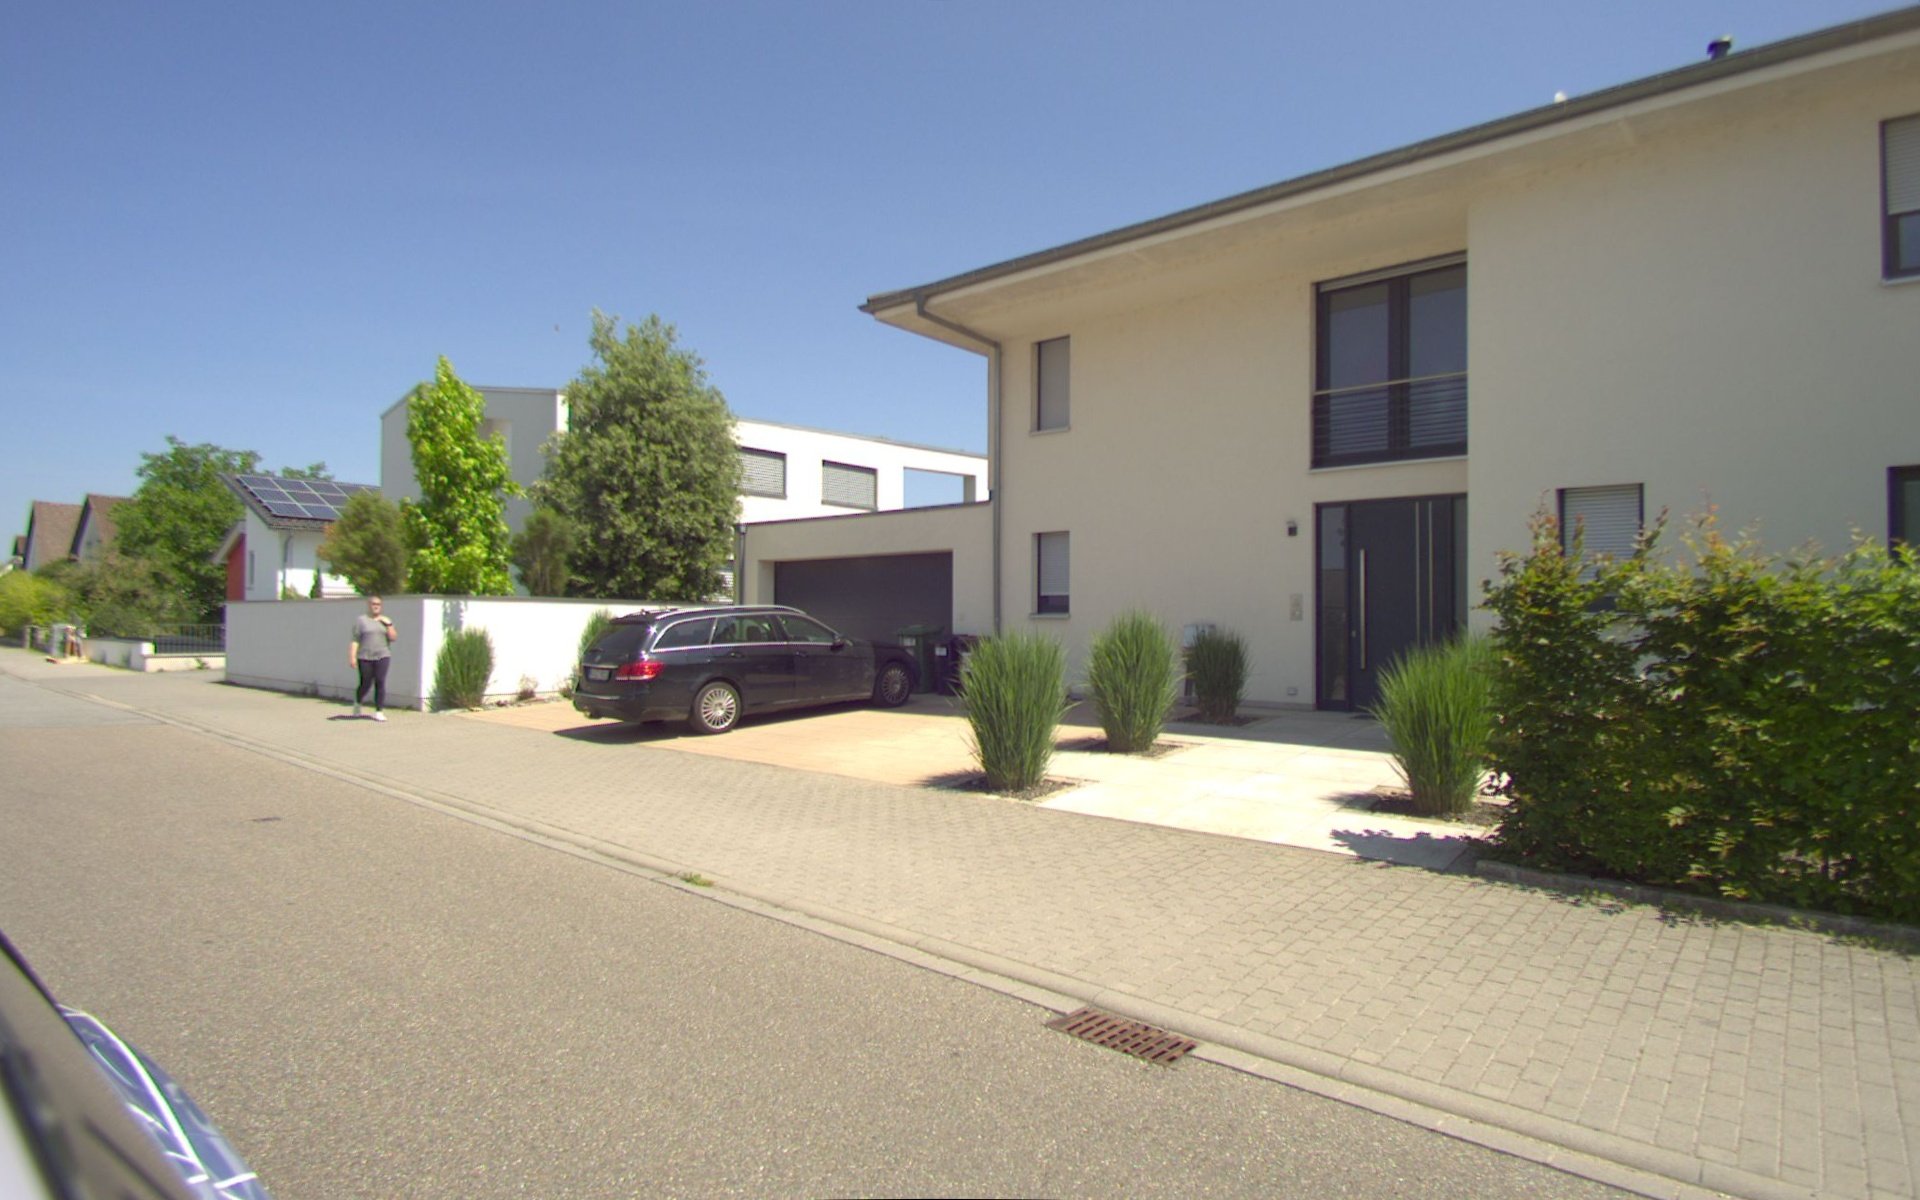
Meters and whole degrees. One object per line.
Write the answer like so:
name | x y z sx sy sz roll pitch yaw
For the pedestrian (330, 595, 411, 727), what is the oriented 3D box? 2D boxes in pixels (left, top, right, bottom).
pedestrian | -8.217 0.820 14.101 0.960 1.760 0.707 -1 -1 42

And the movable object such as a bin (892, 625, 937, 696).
movable object such as a bin | -0.713 0.931 15.841 0.588 1.081 0.381 -1 -2 35

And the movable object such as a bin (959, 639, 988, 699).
movable object such as a bin | 0.207 1.023 15.120 0.393 0.890 0.182 -1 -2 35

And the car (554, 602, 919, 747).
car | -2.767 0.834 13.292 1.851 1.484 4.379 -1 0 44

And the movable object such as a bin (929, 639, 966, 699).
movable object such as a bin | -0.195 1.040 15.431 0.475 0.890 0.308 -1 -2 35
